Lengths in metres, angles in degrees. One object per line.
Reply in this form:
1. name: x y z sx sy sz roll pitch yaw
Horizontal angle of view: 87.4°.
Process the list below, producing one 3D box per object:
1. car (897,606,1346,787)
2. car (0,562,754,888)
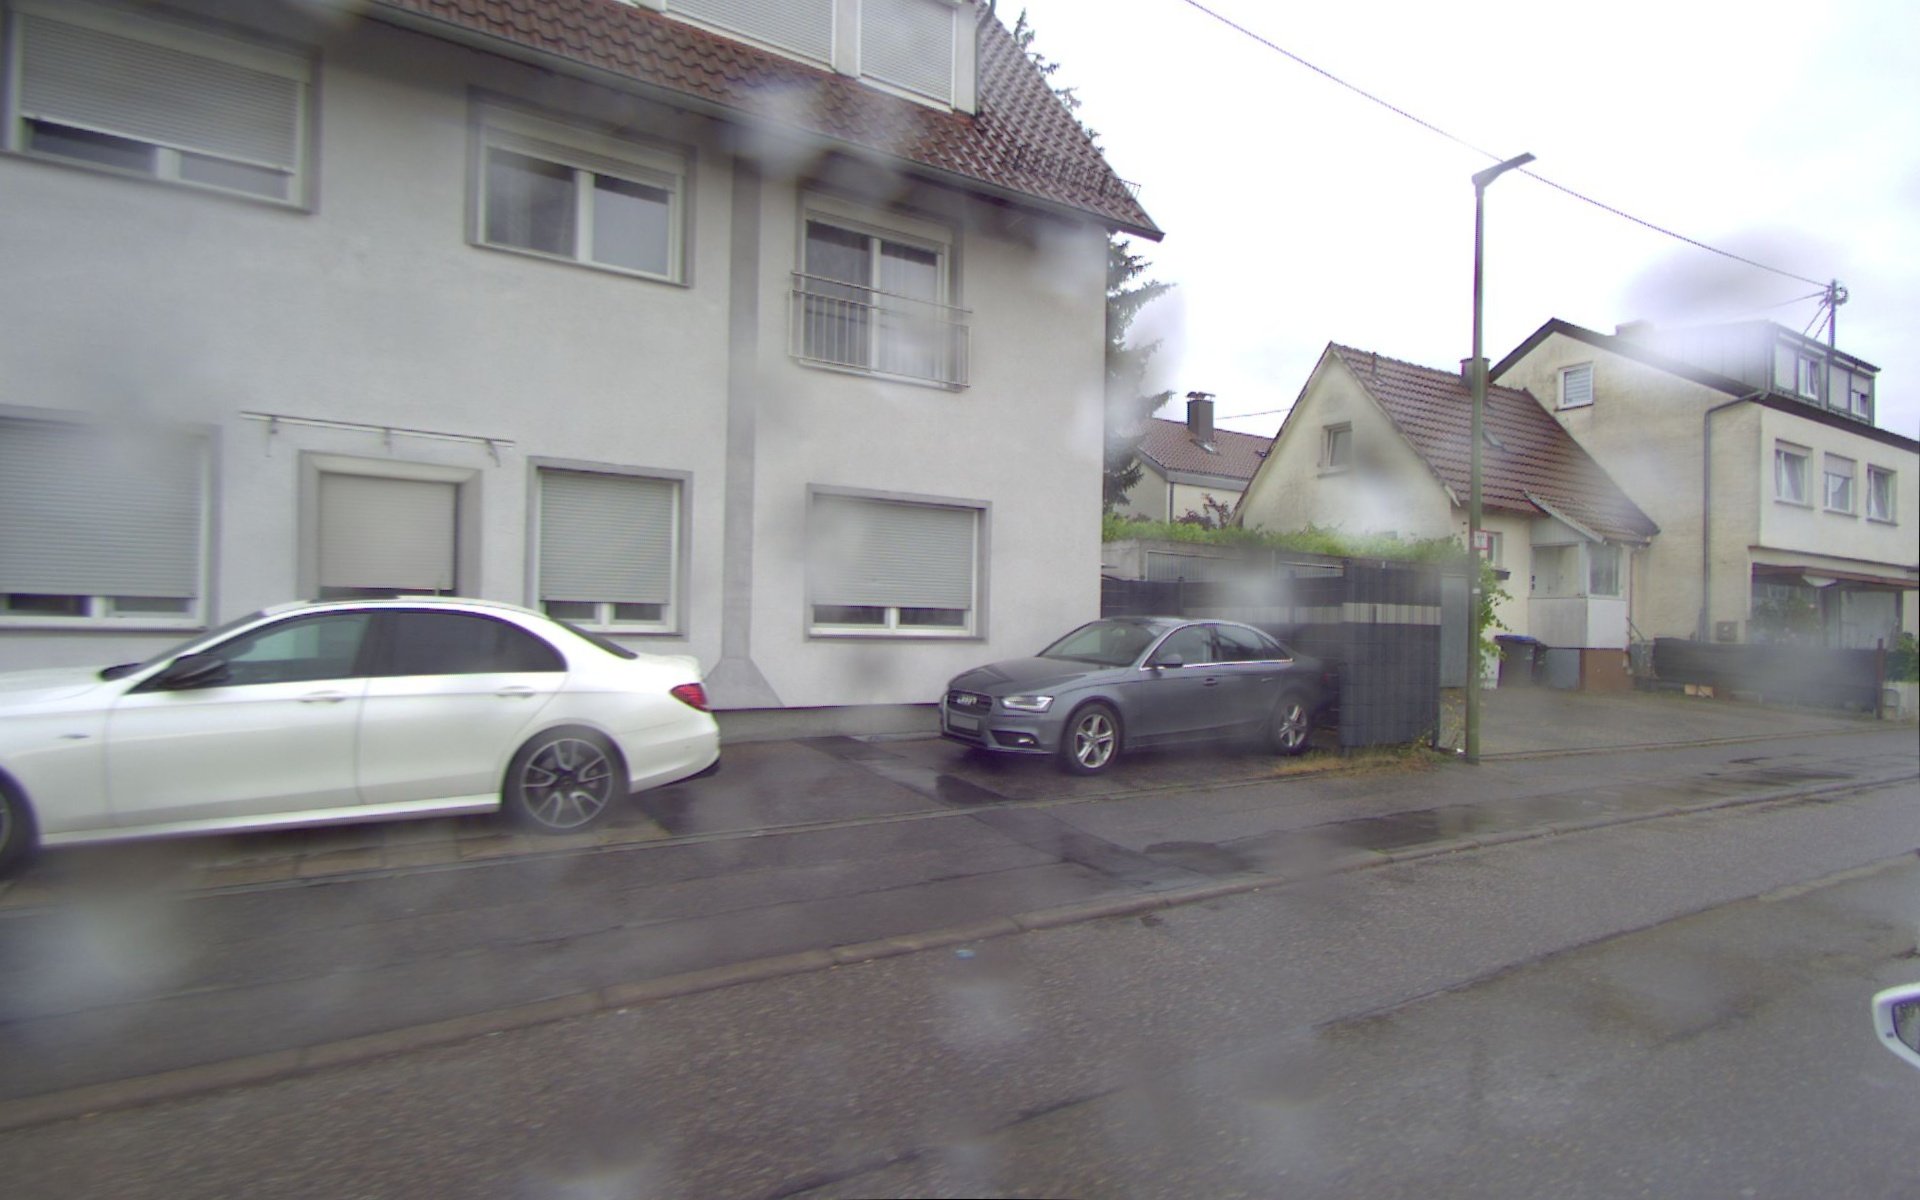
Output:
1. car: 1.773 0.841 10.329 4.523 1.387 1.815 1 3 -35
2. car: -3.996 0.616 6.451 4.840 1.530 1.983 1 3 -32
